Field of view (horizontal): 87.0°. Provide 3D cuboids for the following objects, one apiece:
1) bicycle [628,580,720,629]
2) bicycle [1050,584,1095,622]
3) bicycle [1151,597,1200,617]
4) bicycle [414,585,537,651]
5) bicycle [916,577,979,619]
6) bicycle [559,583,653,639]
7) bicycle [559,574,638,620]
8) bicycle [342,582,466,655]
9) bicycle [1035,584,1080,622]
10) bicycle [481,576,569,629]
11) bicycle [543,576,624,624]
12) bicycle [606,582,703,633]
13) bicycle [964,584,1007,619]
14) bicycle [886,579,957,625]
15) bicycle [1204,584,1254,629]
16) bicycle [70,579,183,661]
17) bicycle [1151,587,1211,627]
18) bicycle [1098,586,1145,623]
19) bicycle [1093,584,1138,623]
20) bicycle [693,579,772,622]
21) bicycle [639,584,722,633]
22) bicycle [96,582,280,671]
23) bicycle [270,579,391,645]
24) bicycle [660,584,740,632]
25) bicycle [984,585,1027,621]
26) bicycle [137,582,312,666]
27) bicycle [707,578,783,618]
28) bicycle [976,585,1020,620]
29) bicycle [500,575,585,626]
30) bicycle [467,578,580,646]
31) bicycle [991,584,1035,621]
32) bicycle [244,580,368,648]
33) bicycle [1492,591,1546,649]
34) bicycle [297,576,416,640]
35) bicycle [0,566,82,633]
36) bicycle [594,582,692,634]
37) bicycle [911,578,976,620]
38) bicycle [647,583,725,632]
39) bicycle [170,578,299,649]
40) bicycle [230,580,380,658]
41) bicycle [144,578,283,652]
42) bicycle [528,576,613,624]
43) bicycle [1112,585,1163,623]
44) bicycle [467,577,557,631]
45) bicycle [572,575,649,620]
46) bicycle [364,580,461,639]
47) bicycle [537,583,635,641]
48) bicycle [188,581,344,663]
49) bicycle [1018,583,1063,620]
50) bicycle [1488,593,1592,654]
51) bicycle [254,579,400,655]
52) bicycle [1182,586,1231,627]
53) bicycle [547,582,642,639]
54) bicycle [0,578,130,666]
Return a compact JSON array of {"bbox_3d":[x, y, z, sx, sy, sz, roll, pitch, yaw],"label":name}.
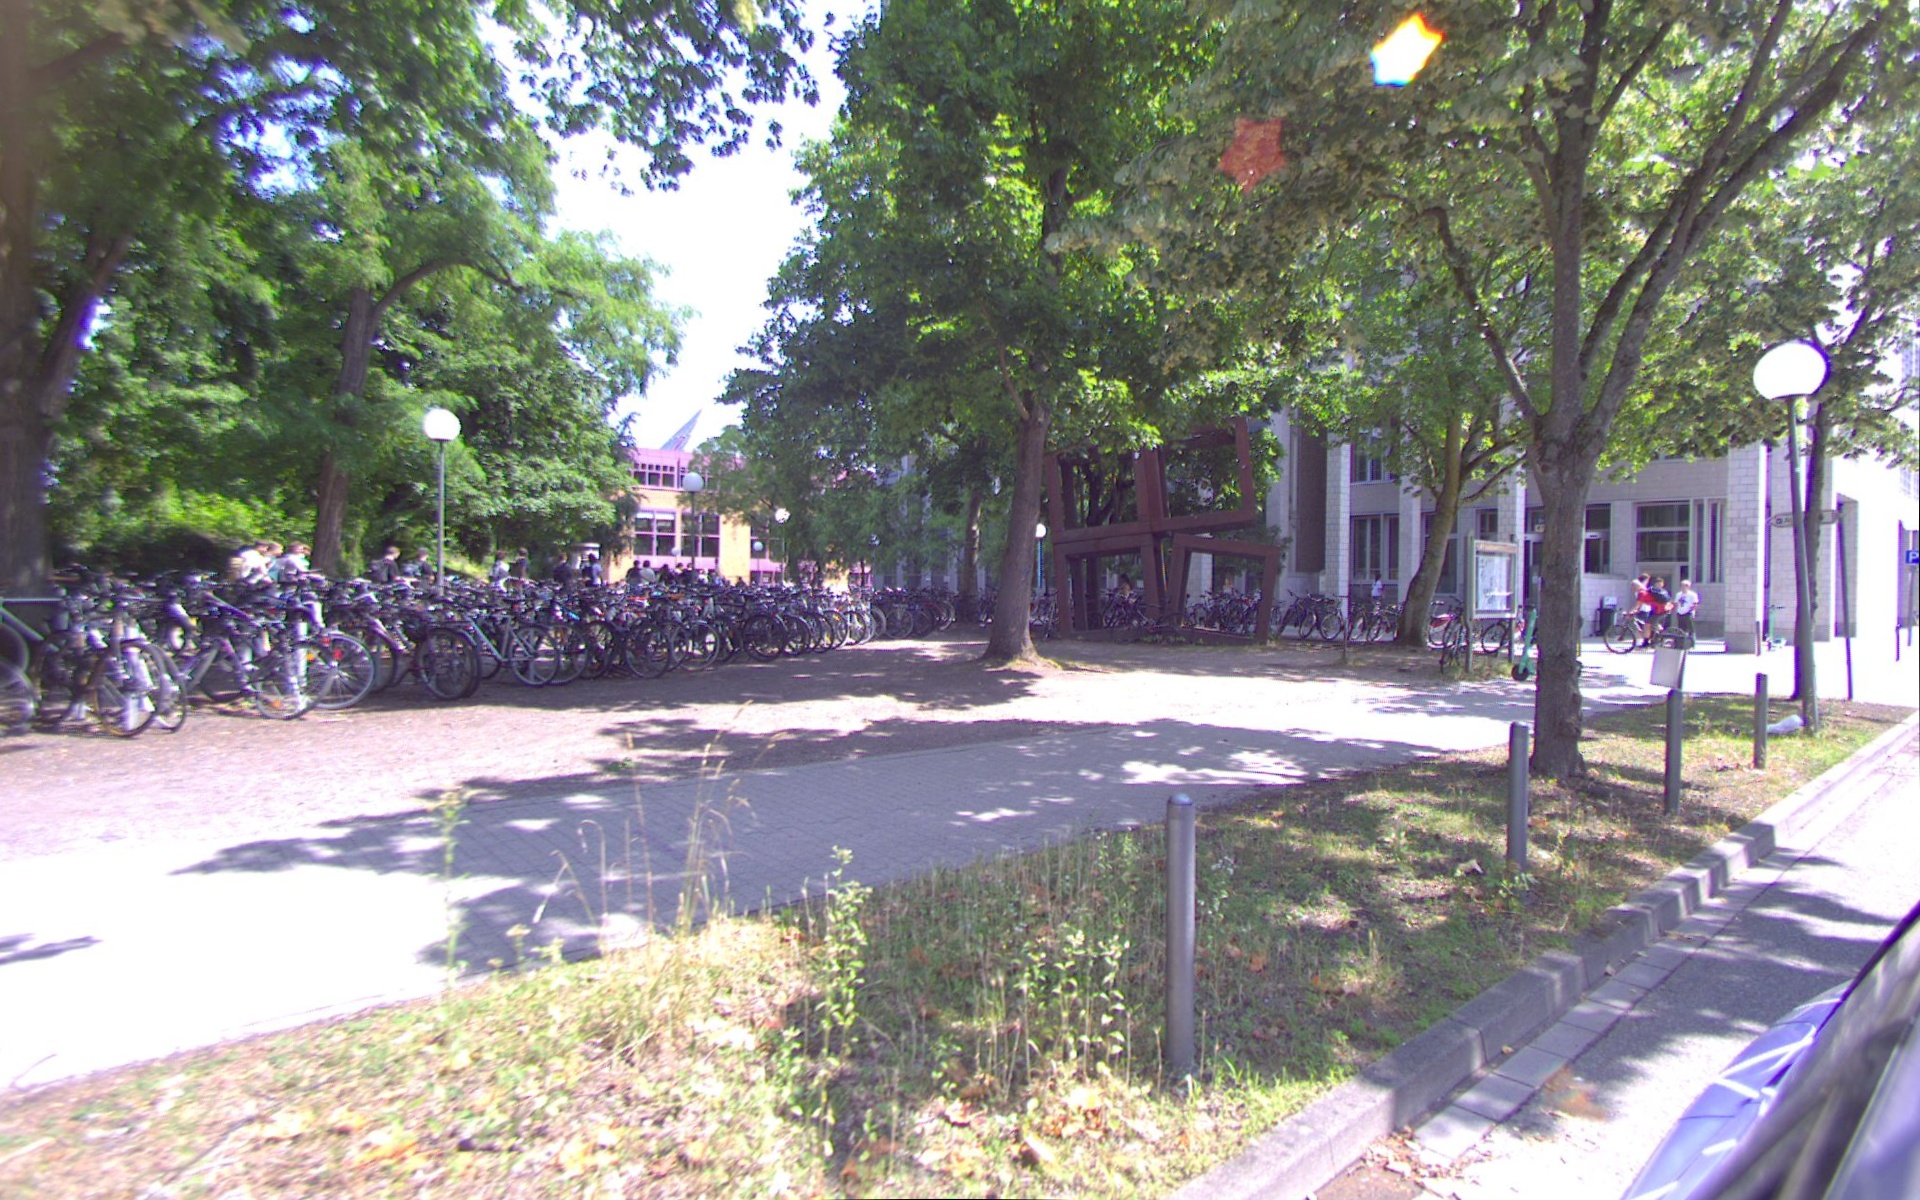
[{"bbox_3d":[-6.135,0.090,21.720,1.868,0.991,0.378,1,1,1],"label":"bicycle"},{"bbox_3d":[3.466,0.097,31.094,0.453,1.144,1.661,-2,-3,44],"label":"bicycle"},{"bbox_3d":[9.373,0.292,44.033,1.981,0.769,0.634,3,1,40],"label":"bicycle"},{"bbox_3d":[-7.785,0.278,16.267,1.873,0.991,0.477,2,1,11],"label":"bicycle"},{"bbox_3d":[-0.362,-0.064,29.934,1.816,1.185,0.412,1,0,11],"label":"bicycle"},{"bbox_3d":[-6.809,0.196,19.442,1.880,0.991,0.376,2,2,20],"label":"bicycle"},{"bbox_3d":[-8.325,-0.075,23.297,1.880,0.991,0.376,2,2,20],"label":"bicycle"},{"bbox_3d":[-8.248,0.251,15.001,1.880,0.991,0.475,2,2,20],"label":"bicycle"},{"bbox_3d":[3.049,0.109,31.504,0.453,1.144,1.661,-2,-3,44],"label":"bicycle"},{"bbox_3d":[-8.800,0.037,20.446,1.880,0.991,0.376,2,2,20],"label":"bicycle"},{"bbox_3d":[-8.387,-0.006,22.522,1.880,0.991,0.376,2,2,20],"label":"bicycle"},{"bbox_3d":[-6.293,0.147,20.886,1.867,0.991,0.379,1,1,0],"label":"bicycle"},{"bbox_3d":[0.868,0.074,34.009,0.477,1.144,1.661,-2,-3,44],"label":"bicycle"},{"bbox_3d":[-1.027,0.042,26.976,1.816,1.185,0.412,1,0,11],"label":"bicycle"},{"bbox_3d":[7.144,0.180,26.871,0.625,1.165,1.671,-2,-2,40],"label":"bicycle"},{"bbox_3d":[-11.231,0.245,13.617,1.885,0.991,0.438,2,2,26],"label":"bicycle"},{"bbox_3d":[6.110,0.207,27.923,1.663,1.061,0.618,1,-2,-33],"label":"bicycle"},{"bbox_3d":[4.693,0.148,29.385,0.499,1.061,1.661,-2,-3,44],"label":"bicycle"},{"bbox_3d":[4.630,0.117,30.132,0.453,1.144,1.661,-2,-3,44],"label":"bicycle"},{"bbox_3d":[-5.666,0.001,25.214,1.874,0.991,0.477,2,1,12],"label":"bicycle"},{"bbox_3d":[-6.205,0.182,22.479,1.714,1.035,0.477,2,1,9],"label":"bicycle"},{"bbox_3d":[-9.227,0.311,12.124,1.868,0.991,0.478,1,1,1],"label":"bicycle"},{"bbox_3d":[-10.062,0.179,16.172,1.873,0.991,0.377,2,1,11],"label":"bicycle"},{"bbox_3d":[-5.930,0.171,23.111,1.714,1.035,0.477,2,1,9],"label":"bicycle"},{"bbox_3d":[1.497,0.112,33.067,0.453,1.144,1.661,-2,-3,44],"label":"bicycle"},{"bbox_3d":[-9.216,0.292,12.700,1.868,0.991,0.478,1,1,1],"label":"bicycle"},{"bbox_3d":[-5.610,-0.056,26.445,1.868,0.991,0.479,1,1,0],"label":"bicycle"},{"bbox_3d":[1.269,0.095,33.582,0.477,1.144,1.661,-2,-3,44],"label":"bicycle"},{"bbox_3d":[-8.743,0.004,21.192,1.880,0.991,0.376,2,2,20],"label":"bicycle"},{"bbox_3d":[-7.528,0.190,17.442,1.875,1.096,0.477,2,1,14],"label":"bicycle"},{"bbox_3d":[1.716,0.092,32.570,0.453,1.144,1.661,-2,-3,44],"label":"bicycle"},{"bbox_3d":[-10.199,0.203,15.778,1.873,0.991,0.377,2,1,11],"label":"bicycle"},{"bbox_3d":[11.766,0.405,21.286,1.465,1.155,0.560,-1,3,-44],"label":"bicycle"},{"bbox_3d":[-10.097,0.126,16.940,1.873,0.991,0.477,2,1,11],"label":"bicycle"},{"bbox_3d":[-16.062,-0.025,17.622,1.591,1.107,0.475,2,2,21],"label":"bicycle"},{"bbox_3d":[-6.394,0.165,20.441,1.867,0.991,0.379,1,1,0],"label":"bicycle"},{"bbox_3d":[-0.477,-0.036,29.226,1.816,1.185,0.412,1,0,11],"label":"bicycle"},{"bbox_3d":[-6.194,0.168,22.853,1.714,1.035,0.292,2,1,9],"label":"bicycle"},{"bbox_3d":[-10.854,0.186,15.140,1.873,0.991,0.377,2,1,11],"label":"bicycle"},{"bbox_3d":[-8.932,0.247,13.808,1.872,0.991,0.477,2,1,8],"label":"bicycle"},{"bbox_3d":[-10.822,0.200,14.673,1.873,0.991,0.477,2,1,11],"label":"bicycle"},{"bbox_3d":[-8.524,-0.010,22.131,1.880,0.991,0.475,2,2,20],"label":"bicycle"},{"bbox_3d":[5.100,0.126,28.972,0.615,1.061,1.661,-2,-2,44],"label":"bicycle"},{"bbox_3d":[-8.875,0.060,20.016,1.880,0.991,0.376,2,2,20],"label":"bicycle"},{"bbox_3d":[-8.191,-0.075,23.696,1.880,0.991,0.376,2,2,20],"label":"bicycle"},{"bbox_3d":[-9.844,0.154,18.181,1.880,0.991,0.376,2,2,20],"label":"bicycle"},{"bbox_3d":[-6.913,0.212,18.688,1.880,0.991,0.376,2,2,20],"label":"bicycle"},{"bbox_3d":[-9.118,0.276,13.305,1.872,0.991,0.477,2,1,9],"label":"bicycle"},{"bbox_3d":[2.542,0.066,31.813,0.453,1.144,1.661,-2,-3,44],"label":"bicycle"},{"bbox_3d":[11.630,0.475,20.306,1.749,1.155,0.607,1,2,-8],"label":"bicycle"},{"bbox_3d":[-8.878,0.227,14.205,1.872,0.991,0.477,2,1,8],"label":"bicycle"},{"bbox_3d":[6.663,0.195,27.330,0.566,1.061,1.671,-2,-2,41],"label":"bicycle"},{"bbox_3d":[-6.920,0.189,19.130,1.880,0.991,0.376,2,2,20],"label":"bicycle"},{"bbox_3d":[-11.199,0.253,12.572,1.880,0.991,0.475,2,2,20],"label":"bicycle"}]
